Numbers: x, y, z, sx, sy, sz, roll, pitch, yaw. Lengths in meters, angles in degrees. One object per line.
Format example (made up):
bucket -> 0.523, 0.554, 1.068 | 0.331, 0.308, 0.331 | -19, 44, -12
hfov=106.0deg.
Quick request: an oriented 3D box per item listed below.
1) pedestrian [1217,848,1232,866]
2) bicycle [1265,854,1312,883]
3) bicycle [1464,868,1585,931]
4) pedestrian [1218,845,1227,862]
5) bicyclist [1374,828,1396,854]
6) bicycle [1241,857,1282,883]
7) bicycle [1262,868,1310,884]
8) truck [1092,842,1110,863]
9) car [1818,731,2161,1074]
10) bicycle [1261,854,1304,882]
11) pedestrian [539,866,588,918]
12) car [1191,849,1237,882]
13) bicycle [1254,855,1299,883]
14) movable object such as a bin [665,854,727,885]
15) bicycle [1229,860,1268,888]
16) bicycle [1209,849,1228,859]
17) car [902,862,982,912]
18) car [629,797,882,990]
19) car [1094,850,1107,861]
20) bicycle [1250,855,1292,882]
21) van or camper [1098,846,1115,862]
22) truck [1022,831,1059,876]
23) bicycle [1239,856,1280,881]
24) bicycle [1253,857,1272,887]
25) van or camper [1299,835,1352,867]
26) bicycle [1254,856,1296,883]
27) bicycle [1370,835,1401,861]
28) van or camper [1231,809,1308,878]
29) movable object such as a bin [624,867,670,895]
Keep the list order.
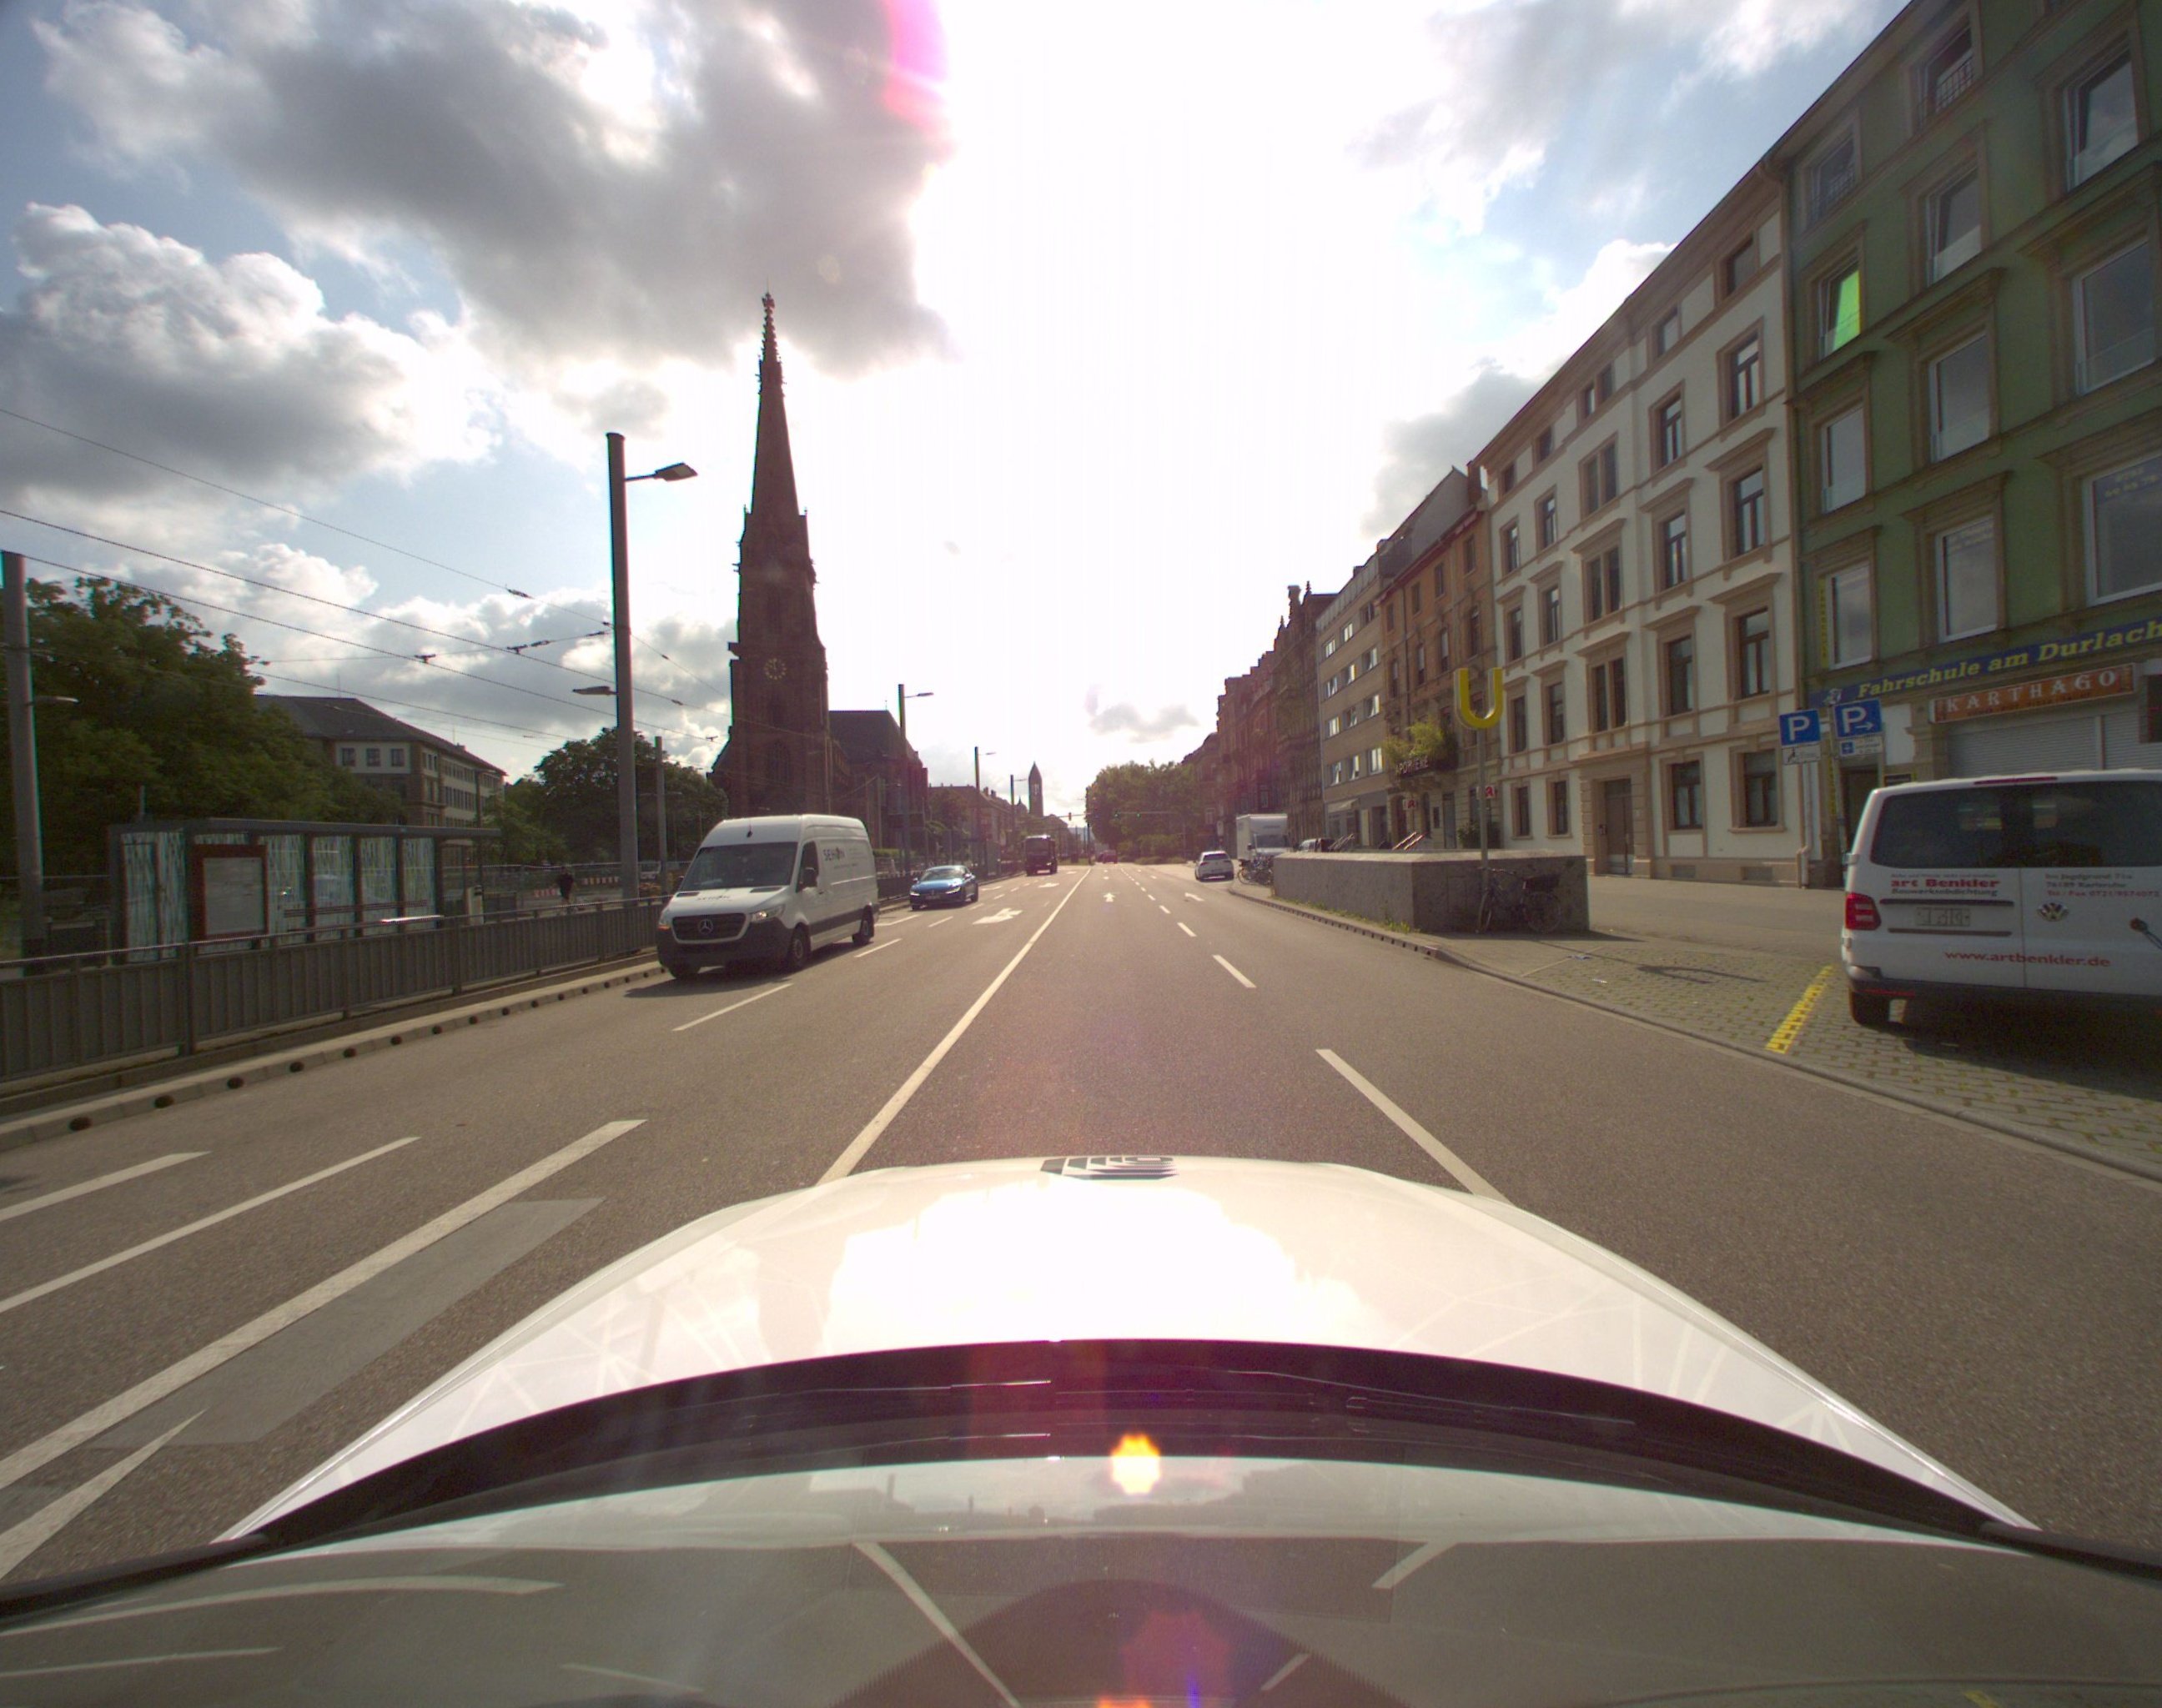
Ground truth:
pedestrian -> 10.754, 0.235, 60.888 | 0.748, 1.316, 0.812 | 0, -1, -37
bicycle -> 8.329, 0.576, 32.718 | 1.750, 1.085, 0.373 | -1, 1, 3
bicycle -> 7.308, 0.745, 13.437 | 1.769, 1.004, 0.512 | 0, -1, -4
pedestrian -> 16.494, -0.072, 94.758 | 0.882, 2.014, 0.996 | 0, -1, 1
bicyclist -> 13.881, -0.586, 37.156 | 0.705, 1.148, 0.814 | 0, -4, 3
bicycle -> 8.133, 0.722, 36.639 | 1.755, 1.085, 0.372 | -1, 1, -5
bicycle -> 7.958, 0.860, 31.674 | 0.641, 0.586, 1.750 | -2, -1, -39
truck -> 3.548, -0.246, 148.768 | 3.159, 3.287, 7.293 | -1, -5, 0
car -> 7.982, 0.274, 7.051 | 4.927, 2.084, 2.054 | -1, 0, -44
bicycle -> 8.474, 0.579, 34.235 | 1.757, 1.085, 0.371 | -2, 1, -9
pedestrian -> -18.680, 1.366, 29.442 | 0.992, 1.799, 1.049 | -1, 2, 7
car -> 6.789, 0.588, 42.075 | 1.783, 1.437, 4.347 | -6, -1, 3
bicycle -> 7.986, 0.620, 33.255 | 1.750, 1.085, 0.373 | -1, 1, 3
movable object such as a bin -> -37.077, 1.469, 78.471 | 4.885, 2.801, 2.001 | -2, 0, 1
bicycle -> 7.058, 0.829, 34.317 | 1.601, 1.085, 0.370 | -2, 1, -18
bicycle -> 17.393, -0.031, 103.050 | 2.185, 1.181, 0.683 | -2, 0, -4
car -> -4.919, 1.126, 29.446 | 1.842, 1.455, 4.557 | -4, 0, 2
car -> -5.316, 0.565, 14.379 | 1.986, 2.621, 5.581 | -4, 0, 1
car -> 3.056, 0.227, 128.394 | 1.987, 1.508, 3.999 | -2, 0, 0
bicycle -> 8.311, 0.632, 35.645 | 1.759, 1.085, 0.371 | -2, 1, -11
van or camper -> 3.612, -0.014, 115.723 | 2.004, 1.915, 4.517 | 0, -4, -2
truck -> -3.519, -0.063, 72.337 | 2.454, 3.648, 7.453 | -2, 0, 2
bicycle -> 8.129, 0.656, 37.080 | 1.755, 1.085, 0.372 | -1, 1, -5
bicycle -> 7.178, 0.698, 32.224 | 0.370, 1.071, 1.765 | -1, 1, 1
van or camper -> 16.278, -0.205, 54.481 | 1.986, 1.905, 5.299 | -5, 0, 1
bicycle -> 8.386, 0.661, 35.142 | 1.759, 1.085, 0.371 | -2, 1, -11
bicycle -> 13.884, -0.262, 37.208 | 0.701, 1.048, 2.210 | 0, -4, 4
van or camper -> 10.107, -0.515, 44.473 | 2.701, 3.331, 7.645 | -3, -1, 3
movable object such as a bin -> -37.240, 2.250, 70.046 | 1.991, 2.206, 4.263 | -2, 0, -6
